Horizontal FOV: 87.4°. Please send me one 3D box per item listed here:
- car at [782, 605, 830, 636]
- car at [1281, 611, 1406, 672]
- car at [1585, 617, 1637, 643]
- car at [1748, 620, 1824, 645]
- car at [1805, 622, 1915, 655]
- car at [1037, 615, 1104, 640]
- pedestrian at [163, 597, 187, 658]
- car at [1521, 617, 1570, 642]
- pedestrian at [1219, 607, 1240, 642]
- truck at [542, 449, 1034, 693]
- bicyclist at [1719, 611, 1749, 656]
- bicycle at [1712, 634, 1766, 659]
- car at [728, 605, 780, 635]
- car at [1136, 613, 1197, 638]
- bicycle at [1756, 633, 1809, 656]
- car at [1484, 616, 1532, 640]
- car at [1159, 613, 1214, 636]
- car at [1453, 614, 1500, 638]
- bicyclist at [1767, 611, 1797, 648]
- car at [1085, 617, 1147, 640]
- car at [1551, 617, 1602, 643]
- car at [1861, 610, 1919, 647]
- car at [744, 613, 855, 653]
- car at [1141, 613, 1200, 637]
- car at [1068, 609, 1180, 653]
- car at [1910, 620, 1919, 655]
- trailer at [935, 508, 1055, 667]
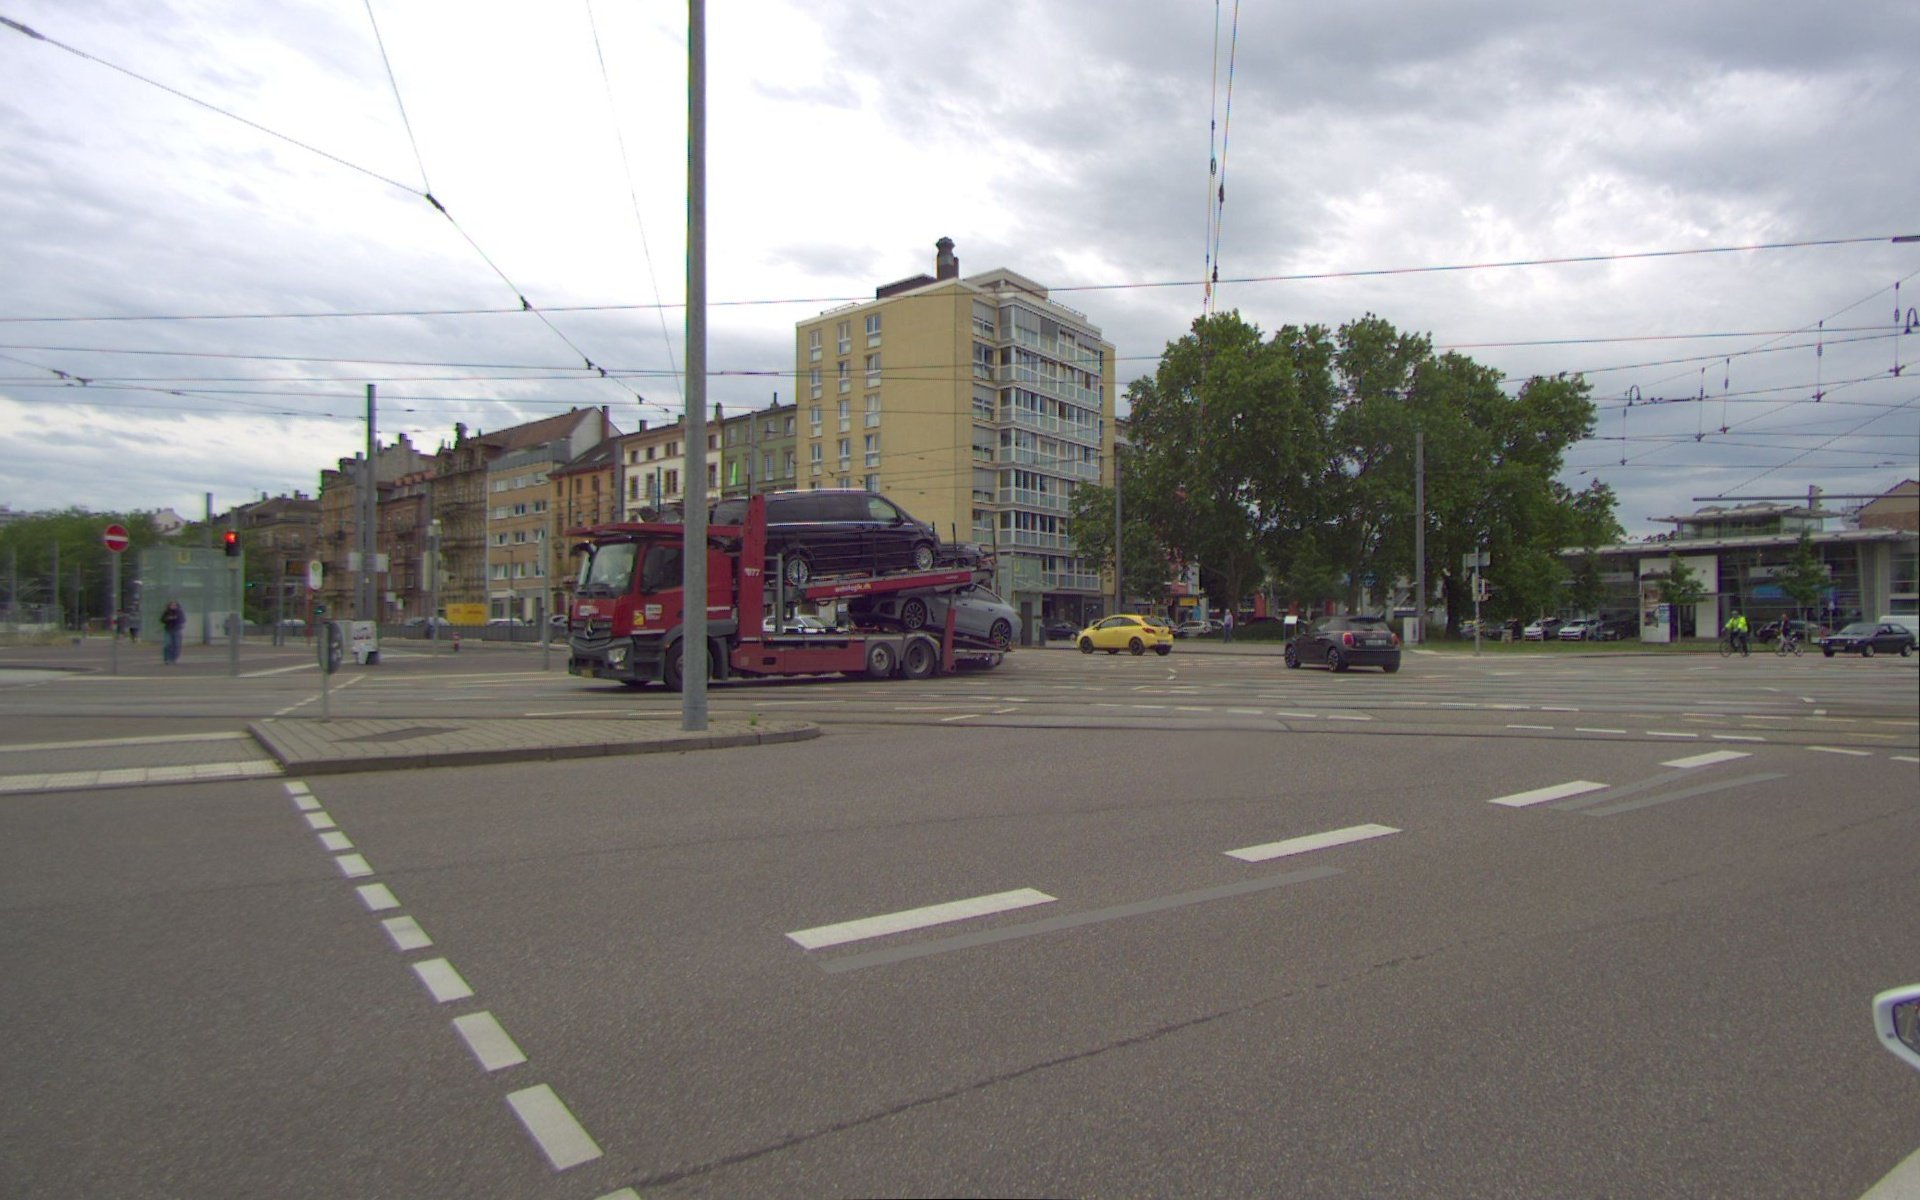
[{"bbox_3d":[-9.499,1.241,62.251,2.039,1.779,4.002,1,0,5],"label":"car"},{"bbox_3d":[10.066,1.061,26.669,1.740,1.488,4.000,0,-1,-1],"label":"car"},{"bbox_3d":[52.758,2.437,81.427,3.953,2.040,1.984,1,0,-30],"label":"car"},{"bbox_3d":[47.836,1.863,58.185,3.676,1.439,1.635,0,-1,-16],"label":"car"},{"bbox_3d":[35.816,1.516,39.985,3.679,1.263,1.685,1,-1,-19],"label":"car"},{"bbox_3d":[7.175,1.779,65.264,3.935,1.572,1.993,-1,-1,36],"label":"car"},{"bbox_3d":[-21.172,0.750,27.095,0.476,1.632,0.422,1,-1,-36],"label":"pedestrian"},{"bbox_3d":[50.219,2.506,86.131,3.953,2.040,1.984,1,0,-30],"label":"car"},{"bbox_3d":[13.755,1.262,51.279,0.898,1.742,0.706,1,0,27],"label":"pedestrian"},{"bbox_3d":[-2.988,-0.404,21.133,2.975,3.972,10.389,1,0,45],"label":"truck"},{"bbox_3d":[31.669,1.368,41.098,0.784,1.827,0.628,0,-1,-14],"label":"bicyclist"},{"bbox_3d":[31.885,1.898,41.134,2.185,0.942,0.518,0,-1,-15],"label":"bicycle"},{"bbox_3d":[-12.732,1.198,62.347,2.039,1.779,4.002,1,0,5],"label":"car"},{"bbox_3d":[15.178,1.832,73.860,3.934,1.728,1.994,1,0,35],"label":"car"},{"bbox_3d":[34.318,1.854,41.930,2.185,0.938,0.518,0,-1,-15],"label":"bicycle"},{"bbox_3d":[48.368,2.477,88.632,3.953,2.040,1.984,1,0,-30],"label":"car"},{"bbox_3d":[18.312,1.957,81.210,3.934,1.728,1.994,1,0,35],"label":"car"},{"bbox_3d":[47.095,2.378,91.581,3.953,2.040,1.984,1,0,-30],"label":"car"},{"bbox_3d":[34.304,1.215,41.923,0.842,1.528,0.566,-1,0,-14],"label":"bicyclist"},{"bbox_3d":[11.119,1.993,71.548,3.935,1.572,1.993,-1,-1,36],"label":"car"},{"bbox_3d":[51.545,2.491,84.001,3.953,2.040,1.984,1,0,-30],"label":"car"},{"bbox_3d":[54.111,1.601,56.470,2.087,2.040,4.762,1,0,-18],"label":"car"},{"bbox_3d":[-6.519,1.284,40.499,4.613,1.513,1.989,-1,-1,43],"label":"car"},{"bbox_3d":[16.222,1.918,77.381,3.934,1.728,1.994,1,0,35],"label":"car"},{"bbox_3d":[6.115,1.123,37.702,1.808,1.514,3.954,1,0,-39],"label":"car"},{"bbox_3d":[41.019,1.533,41.089,3.679,1.439,1.634,1,-1,-19],"label":"car"},{"bbox_3d":[1.328,-0.298,30.528,2.936,4.026,9.559,1,0,6],"label":"trailer"}]
